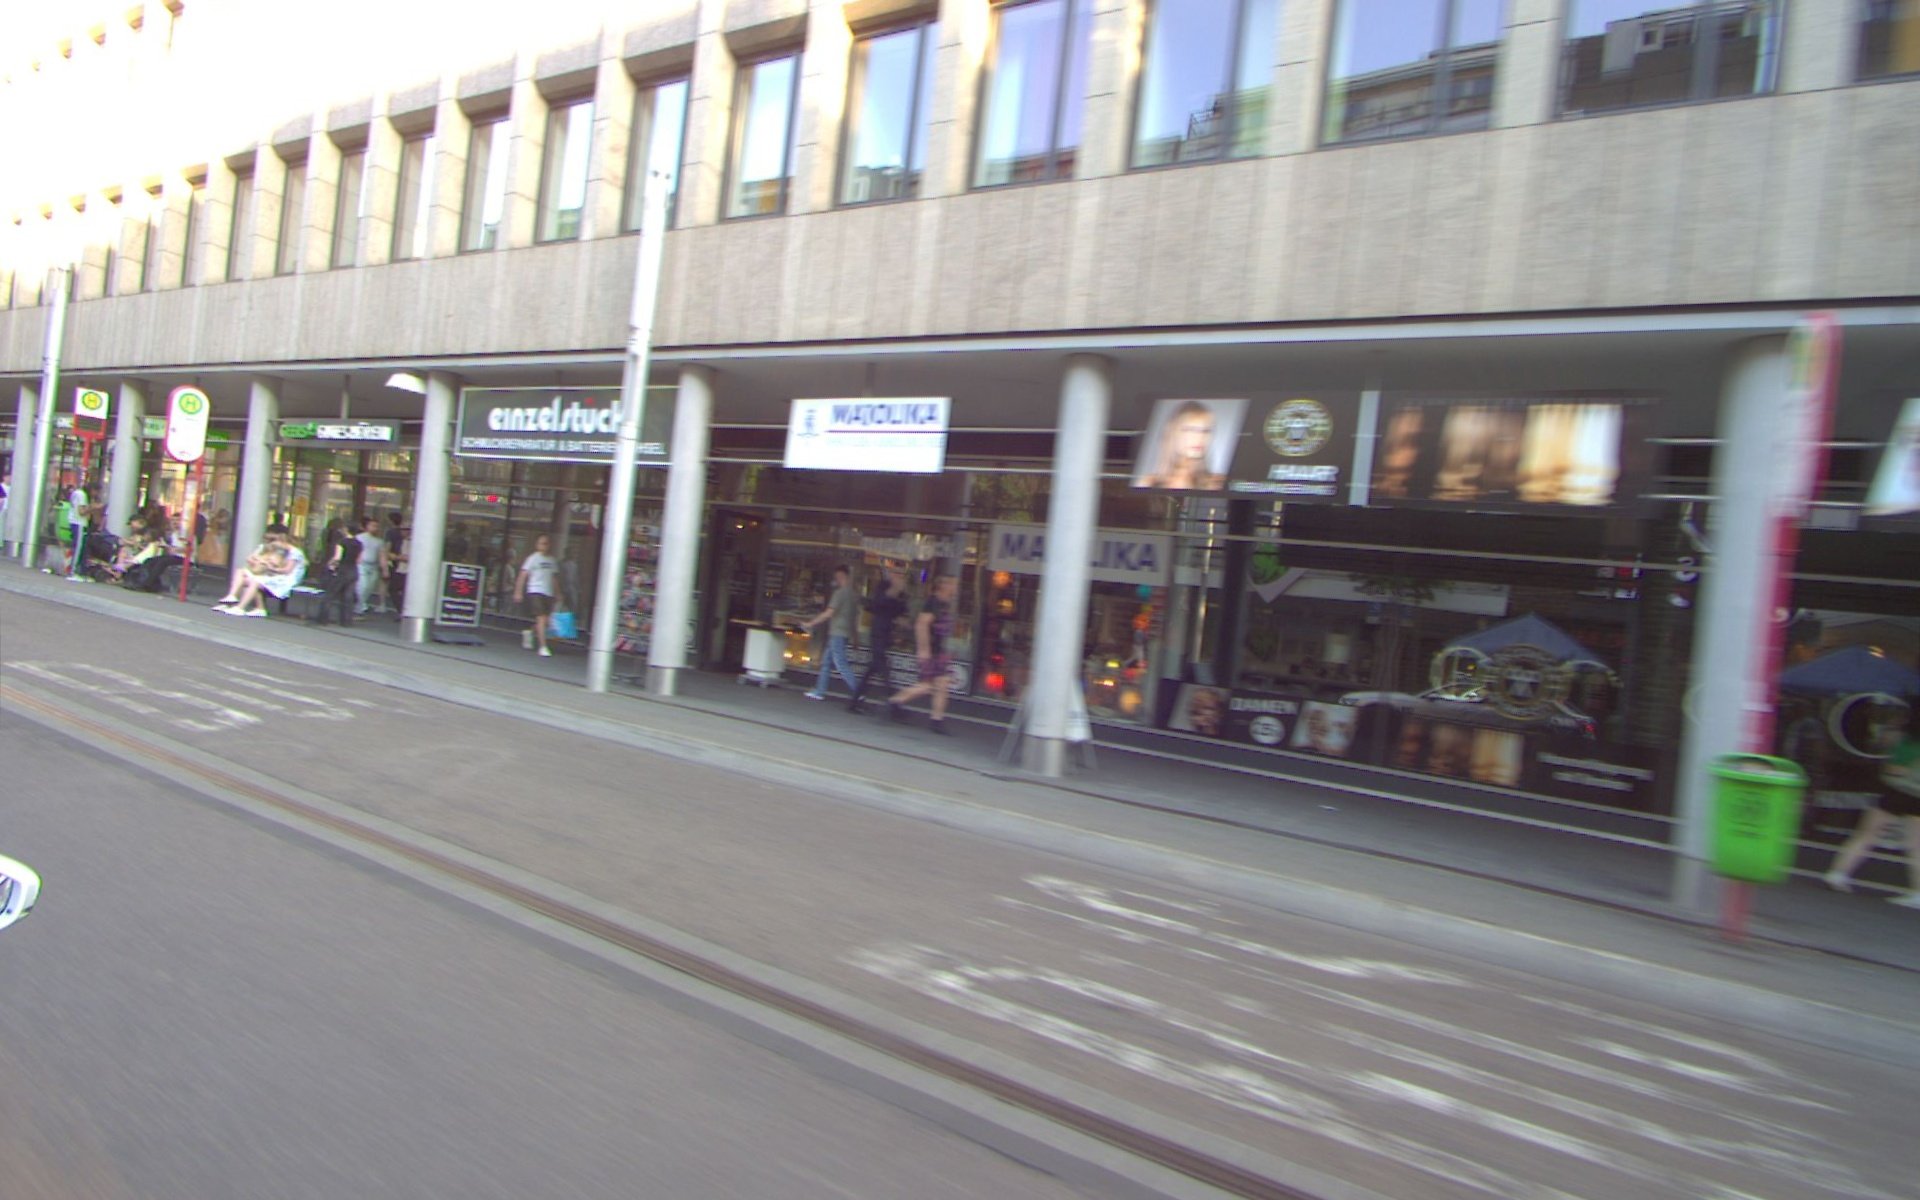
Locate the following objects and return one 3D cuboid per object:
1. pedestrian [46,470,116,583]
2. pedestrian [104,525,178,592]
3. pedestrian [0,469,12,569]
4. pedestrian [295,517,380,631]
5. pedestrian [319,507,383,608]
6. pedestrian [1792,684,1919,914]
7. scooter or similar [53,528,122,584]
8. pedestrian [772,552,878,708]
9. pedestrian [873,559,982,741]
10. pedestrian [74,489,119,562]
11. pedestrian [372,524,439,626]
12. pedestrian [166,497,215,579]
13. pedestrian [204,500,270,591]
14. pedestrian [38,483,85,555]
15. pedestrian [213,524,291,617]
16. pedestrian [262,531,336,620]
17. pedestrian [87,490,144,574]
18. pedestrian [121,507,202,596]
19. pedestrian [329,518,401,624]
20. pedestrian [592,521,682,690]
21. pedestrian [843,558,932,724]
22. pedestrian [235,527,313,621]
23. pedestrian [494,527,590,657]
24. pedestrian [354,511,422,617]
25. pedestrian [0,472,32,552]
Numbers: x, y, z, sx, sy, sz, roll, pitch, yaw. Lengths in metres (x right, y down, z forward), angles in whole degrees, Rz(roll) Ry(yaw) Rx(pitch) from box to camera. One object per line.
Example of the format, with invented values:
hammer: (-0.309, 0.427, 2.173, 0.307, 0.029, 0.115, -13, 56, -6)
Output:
pedestrian: (-15.421, -1.281, 17.646, 0.657, 1.863, 0.640, 7, 1, 31)
pedestrian: (-14.633, -0.736, 17.980, 0.535, 1.055, 0.814, 6, -1, 32)
pedestrian: (-18.316, -1.560, 18.749, 0.696, 1.863, 0.669, 7, 1, 30)
pedestrian: (-9.341, -0.382, 15.106, 0.724, 1.590, 0.725, 7, 1, 32)
pedestrian: (-11.279, -0.786, 18.627, 0.760, 1.775, 0.583, 7, 1, 29)
pedestrian: (7.359, 1.558, 8.058, 0.805, 1.665, 0.711, 6, 1, 30)
scooter or similar: (-16.115, -0.812, 18.575, 0.678, 0.894, 0.832, 6, -2, 44)
pedestrian: (-1.776, 0.398, 13.275, 0.884, 1.913, 0.845, 7, 1, 31)
pedestrian: (-0.357, 0.552, 11.325, 0.783, 1.913, 0.707, 7, 1, 31)
pedestrian: (-21.986, -1.896, 25.615, 0.607, 1.753, 0.571, 7, 1, 29)
pedestrian: (-9.687, -0.436, 17.585, 0.669, 1.682, 0.648, 7, 1, 32)
pedestrian: (-17.352, -1.390, 22.679, 0.607, 1.753, 0.571, 7, 1, 29)
pedestrian: (-15.357, -1.152, 21.378, 0.761, 1.794, 0.774, 6, 1, 29)
pedestrian: (-23.956, -2.153, 26.824, 0.707, 1.809, 0.663, 7, 1, 31)
pedestrian: (-10.980, -0.451, 15.603, 0.523, 1.330, 0.719, 7, -1, 32)
pedestrian: (-10.705, -0.393, 16.300, 0.523, 1.330, 0.719, 7, -1, 32)
pedestrian: (-17.965, -1.436, 21.401, 0.639, 1.682, 0.648, 7, 1, 31)
pedestrian: (-13.914, -0.837, 17.537, 0.651, 1.397, 0.814, 7, -1, 32)
pedestrian: (-10.059, -0.490, 17.012, 0.710, 1.682, 0.688, 7, 1, 32)
pedestrian: (-3.932, 0.067, 12.251, 0.644, 1.968, 0.578, 7, 1, 30)
pedestrian: (-0.880, 0.494, 12.269, 0.672, 1.913, 0.616, 7, 1, 32)
pedestrian: (-10.492, -0.395, 15.405, 0.516, 1.330, 0.719, 7, -1, 32)
pedestrian: (-6.243, -0.107, 15.036, 0.844, 1.820, 0.845, 7, 1, 31)
pedestrian: (-10.898, -0.673, 19.169, 0.760, 1.906, 0.688, 7, 1, 29)
pedestrian: (-22.600, -2.093, 23.893, 0.594, 1.829, 0.539, 7, 1, 29)
